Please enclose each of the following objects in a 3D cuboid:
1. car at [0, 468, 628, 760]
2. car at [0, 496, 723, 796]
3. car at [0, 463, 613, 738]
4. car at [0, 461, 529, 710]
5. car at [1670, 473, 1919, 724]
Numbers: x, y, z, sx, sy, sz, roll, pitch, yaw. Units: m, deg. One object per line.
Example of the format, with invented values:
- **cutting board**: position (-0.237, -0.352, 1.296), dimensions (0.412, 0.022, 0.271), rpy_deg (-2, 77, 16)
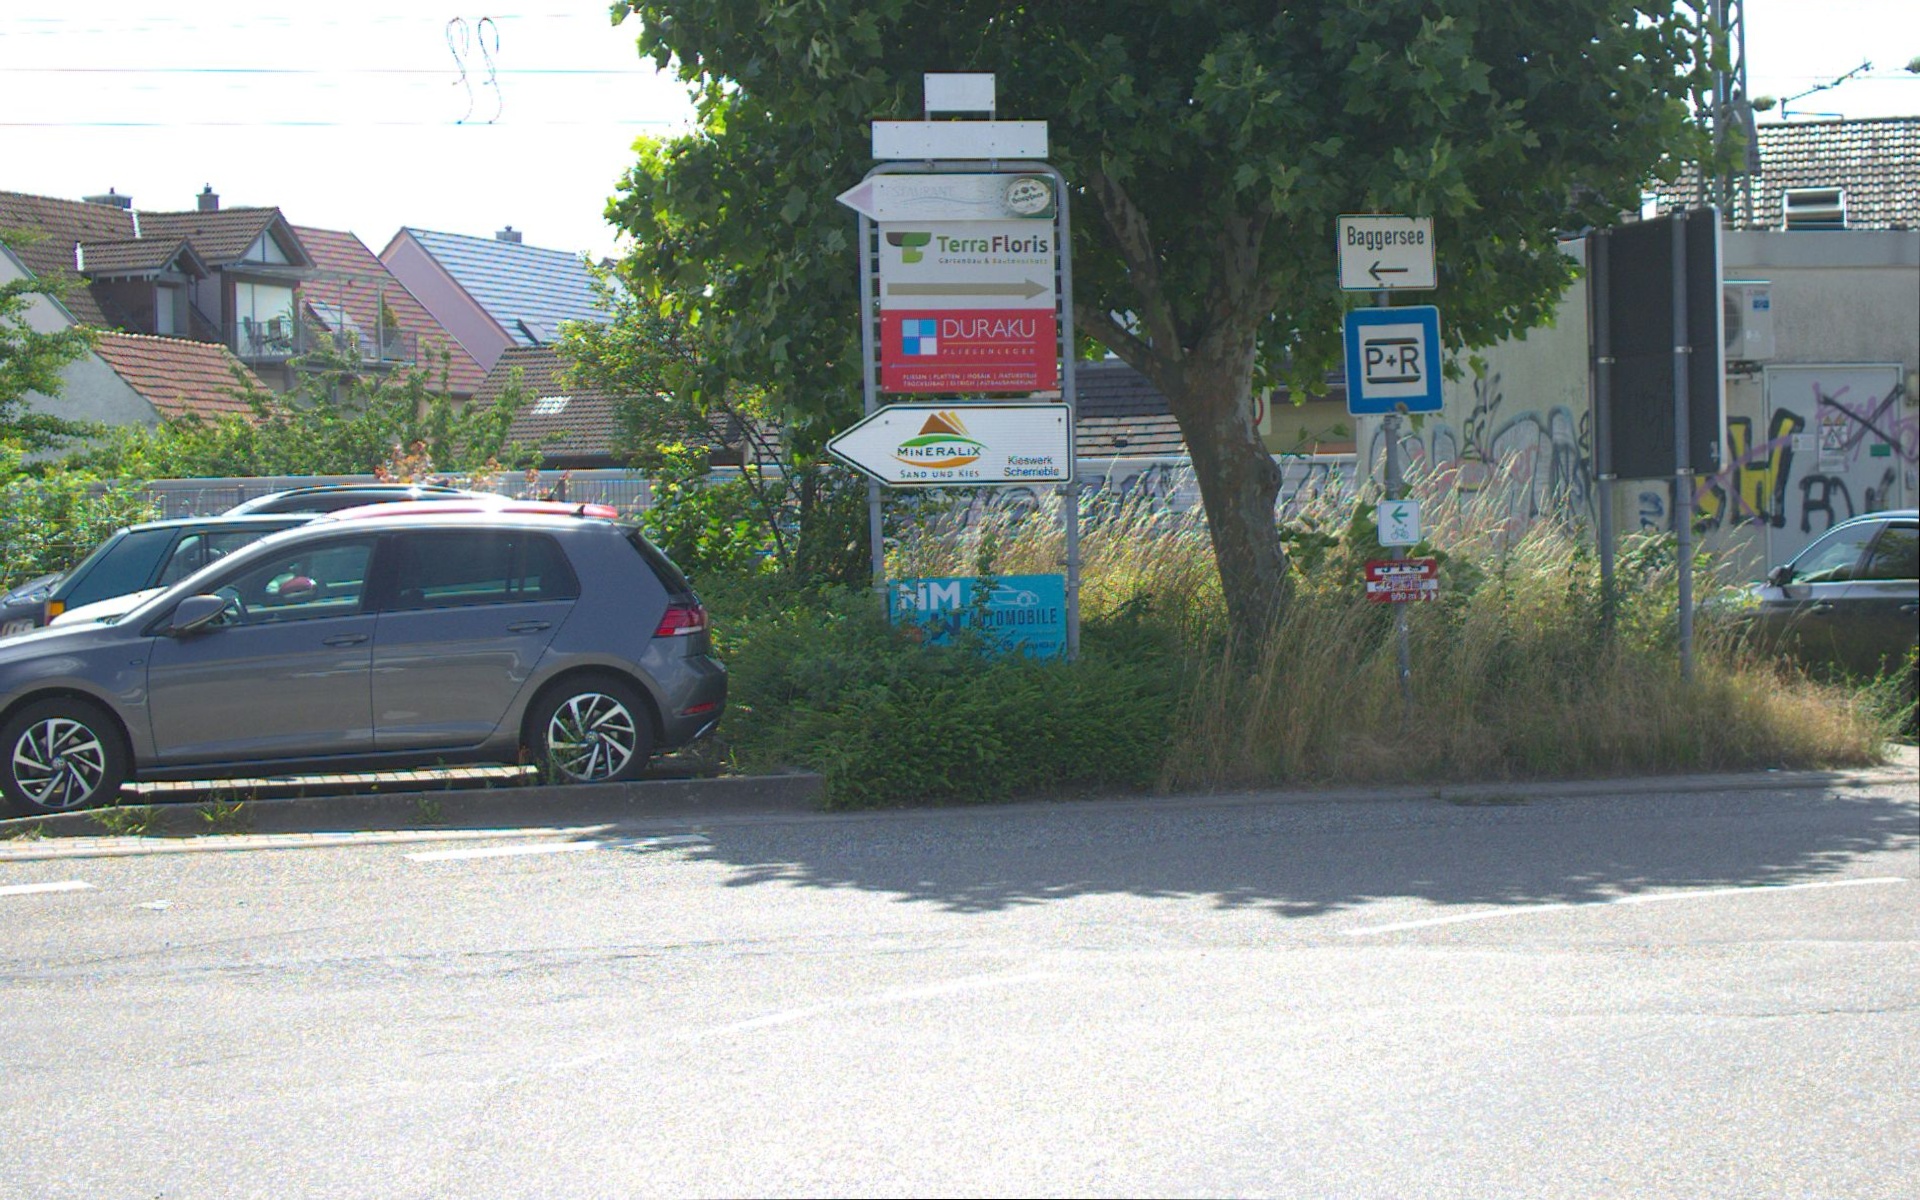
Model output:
- **car**: position (-4.057, 0.065, 20.409), dimensions (3.986, 1.581, 1.780), rpy_deg (-1, 1, -10)
- **car**: position (-3.405, 0.212, 17.848), dimensions (4.186, 1.458, 1.665), rpy_deg (0, 0, -10)
- **car**: position (-4.397, -0.026, 22.751), dimensions (3.986, 1.652, 2.001), rpy_deg (-1, 1, -11)
- **car**: position (-5.237, -0.099, 25.265), dimensions (3.986, 1.724, 1.771), rpy_deg (1, 0, -11)
- **car**: position (6.277, -0.005, 21.265), dimensions (1.751, 1.381, 4.002), rpy_deg (0, 4, -21)
